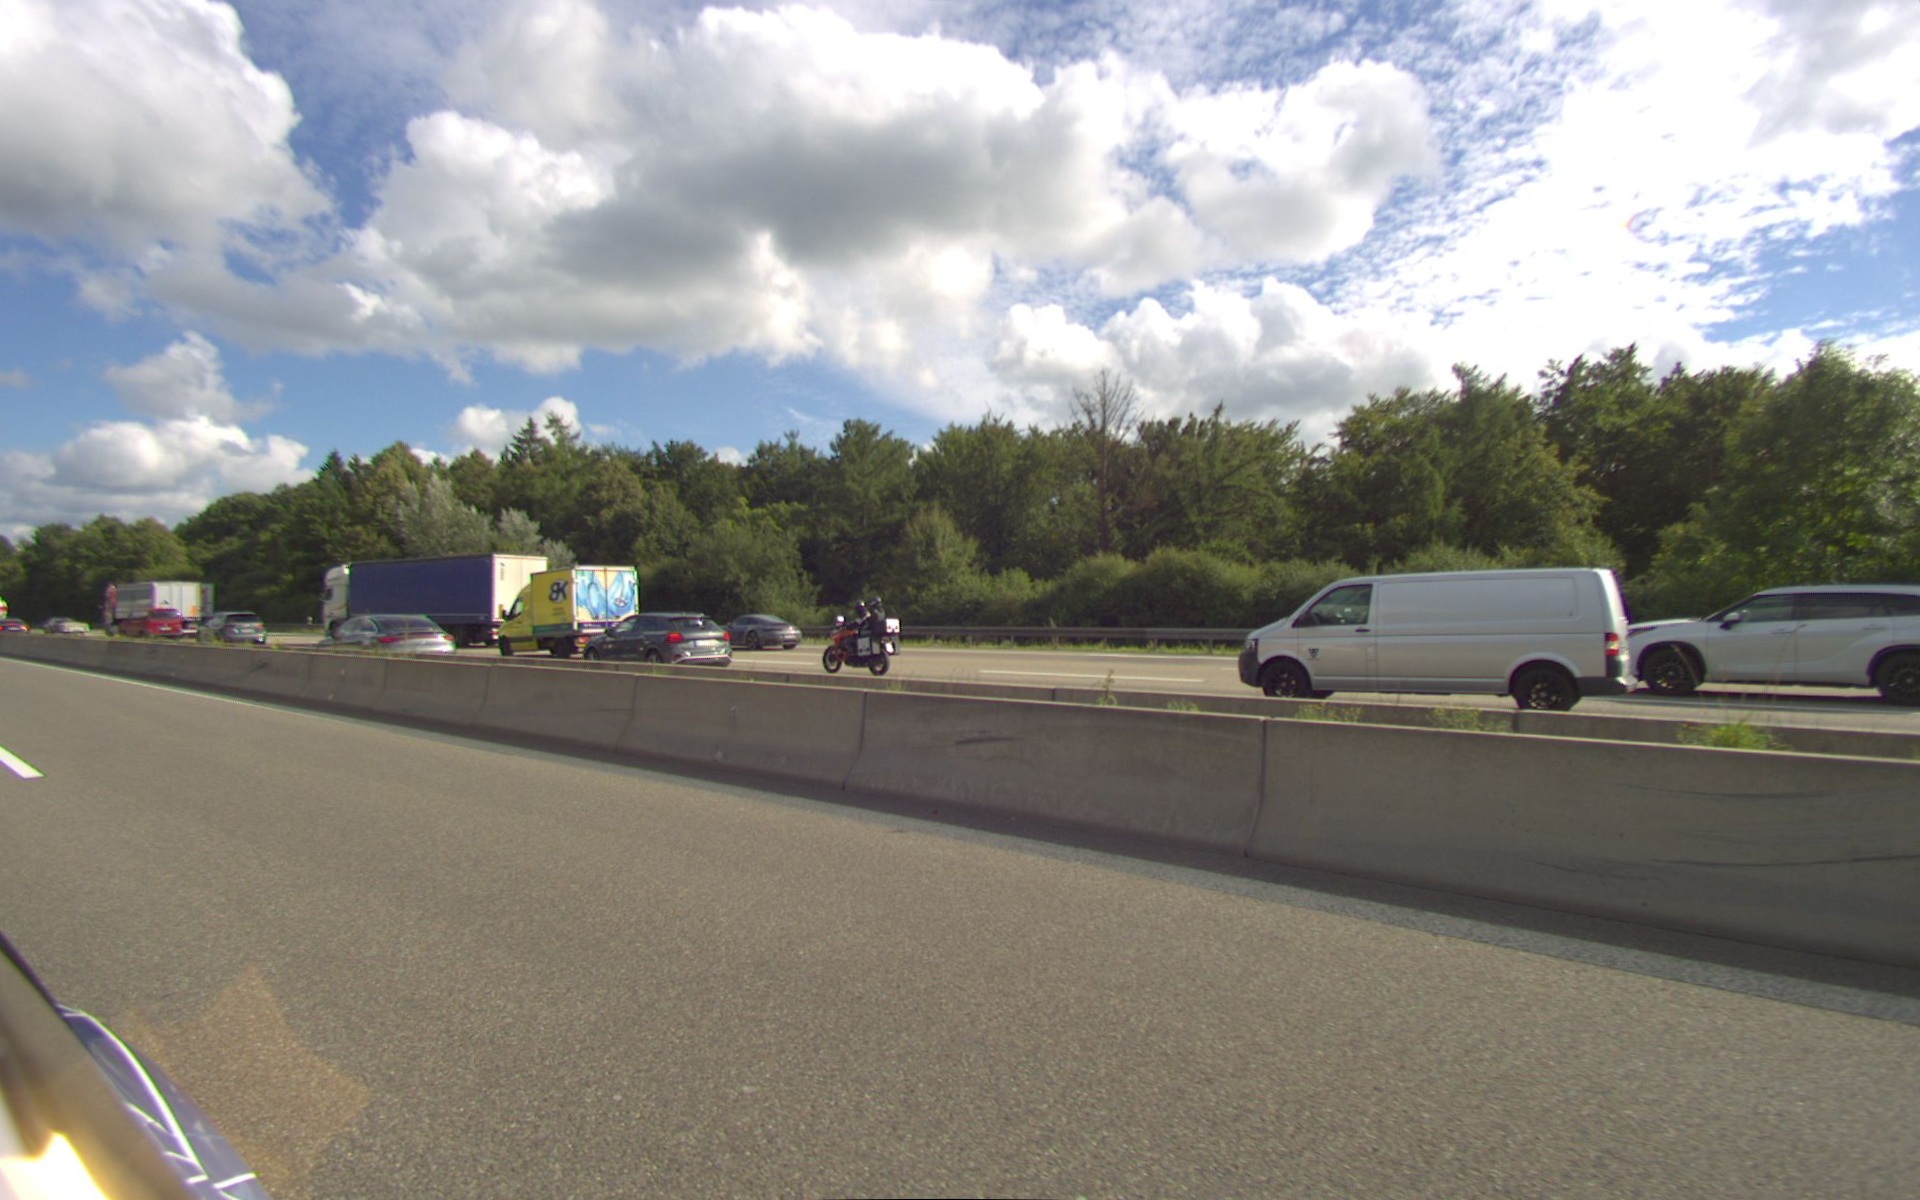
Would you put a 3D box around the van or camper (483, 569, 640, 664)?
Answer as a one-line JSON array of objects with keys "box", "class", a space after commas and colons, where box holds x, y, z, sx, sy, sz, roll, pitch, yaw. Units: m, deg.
[{"box": [-13.535, 0.588, 34.122, 6.506, 2.914, 2.348, -2, -3, 43], "class": "van or camper"}]

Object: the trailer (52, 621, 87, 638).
[{"box": [-75.655, 2.502, 85.967, 4.174, 1.413, 1.520, -1, -1, 38], "class": "trailer"}]

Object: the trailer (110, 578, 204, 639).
[{"box": [-55.060, 0.646, 69.259, 11.273, 3.887, 2.937, -1, -1, 41], "class": "trailer"}]

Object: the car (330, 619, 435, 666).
[{"box": [-19.501, 1.408, 34.108, 4.328, 1.482, 1.765, -1, -2, 41], "class": "car"}]

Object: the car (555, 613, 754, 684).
[{"box": [-7.197, 1.072, 23.603, 4.781, 1.482, 2.150, -1, -1, 39], "class": "car"}]

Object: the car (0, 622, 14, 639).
[{"box": [-82.041, 2.623, 86.249, 3.997, 1.413, 1.587, -1, -1, 40], "class": "car"}]

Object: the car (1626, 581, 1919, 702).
[{"box": [13.316, 0.594, 15.656, 4.784, 1.696, 2.148, -1, -1, 42], "class": "car"}]

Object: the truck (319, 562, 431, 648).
[{"box": [-29.714, 0.299, 51.343, 6.050, 4.125, 2.794, -1, -1, 37], "class": "truck"}]

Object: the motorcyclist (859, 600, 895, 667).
[{"box": [-1.880, 0.741, 22.982, 0.532, 1.487, 0.596, -1, 0, 42], "class": "motorcyclist"}]

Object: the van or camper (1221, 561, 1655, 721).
[{"box": [6.790, 0.546, 14.751, 5.447, 1.952, 1.976, -1, -1, 36], "class": "van or camper"}]

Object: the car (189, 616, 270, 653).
[{"box": [-33.332, 1.563, 46.131, 4.909, 1.608, 1.825, -1, -2, 40], "class": "car"}]

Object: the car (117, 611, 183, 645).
[{"box": [-47.736, 1.667, 59.620, 5.024, 1.955, 1.830, -1, -2, 37], "class": "car"}]

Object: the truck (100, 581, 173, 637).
[{"box": [-59.349, 0.688, 72.891, 6.760, 3.887, 2.937, -1, -1, 40], "class": "truck"}]

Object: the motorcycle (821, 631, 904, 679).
[{"box": [-2.271, 1.242, 23.361, 2.174, 1.048, 0.603, -1, -1, 42], "class": "motorcycle"}]

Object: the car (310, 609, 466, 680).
[{"box": [-14.010, 1.028, 24.682, 4.658, 1.564, 1.844, -1, -1, 40], "class": "car"}]

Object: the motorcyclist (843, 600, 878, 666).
[{"box": [-2.290, 0.745, 23.394, 0.532, 1.487, 0.596, -1, 0, 42], "class": "motorcyclist"}]

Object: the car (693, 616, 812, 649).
[{"box": [-7.880, 1.205, 38.249, 4.783, 1.140, 1.915, -1, -1, 41], "class": "car"}]

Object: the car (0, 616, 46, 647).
[{"box": [-61.720, 2.030, 66.133, 5.356, 1.892, 2.150, -1, -1, 39], "class": "car"}]

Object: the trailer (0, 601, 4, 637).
[{"box": [-112.494, 2.186, 115.974, 12.241, 3.975, 2.760, -1, -1, 40], "class": "trailer"}]

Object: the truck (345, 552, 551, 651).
[{"box": [-24.276, 0.174, 47.349, 13.819, 4.125, 2.793, -1, -1, 37], "class": "truck"}]
